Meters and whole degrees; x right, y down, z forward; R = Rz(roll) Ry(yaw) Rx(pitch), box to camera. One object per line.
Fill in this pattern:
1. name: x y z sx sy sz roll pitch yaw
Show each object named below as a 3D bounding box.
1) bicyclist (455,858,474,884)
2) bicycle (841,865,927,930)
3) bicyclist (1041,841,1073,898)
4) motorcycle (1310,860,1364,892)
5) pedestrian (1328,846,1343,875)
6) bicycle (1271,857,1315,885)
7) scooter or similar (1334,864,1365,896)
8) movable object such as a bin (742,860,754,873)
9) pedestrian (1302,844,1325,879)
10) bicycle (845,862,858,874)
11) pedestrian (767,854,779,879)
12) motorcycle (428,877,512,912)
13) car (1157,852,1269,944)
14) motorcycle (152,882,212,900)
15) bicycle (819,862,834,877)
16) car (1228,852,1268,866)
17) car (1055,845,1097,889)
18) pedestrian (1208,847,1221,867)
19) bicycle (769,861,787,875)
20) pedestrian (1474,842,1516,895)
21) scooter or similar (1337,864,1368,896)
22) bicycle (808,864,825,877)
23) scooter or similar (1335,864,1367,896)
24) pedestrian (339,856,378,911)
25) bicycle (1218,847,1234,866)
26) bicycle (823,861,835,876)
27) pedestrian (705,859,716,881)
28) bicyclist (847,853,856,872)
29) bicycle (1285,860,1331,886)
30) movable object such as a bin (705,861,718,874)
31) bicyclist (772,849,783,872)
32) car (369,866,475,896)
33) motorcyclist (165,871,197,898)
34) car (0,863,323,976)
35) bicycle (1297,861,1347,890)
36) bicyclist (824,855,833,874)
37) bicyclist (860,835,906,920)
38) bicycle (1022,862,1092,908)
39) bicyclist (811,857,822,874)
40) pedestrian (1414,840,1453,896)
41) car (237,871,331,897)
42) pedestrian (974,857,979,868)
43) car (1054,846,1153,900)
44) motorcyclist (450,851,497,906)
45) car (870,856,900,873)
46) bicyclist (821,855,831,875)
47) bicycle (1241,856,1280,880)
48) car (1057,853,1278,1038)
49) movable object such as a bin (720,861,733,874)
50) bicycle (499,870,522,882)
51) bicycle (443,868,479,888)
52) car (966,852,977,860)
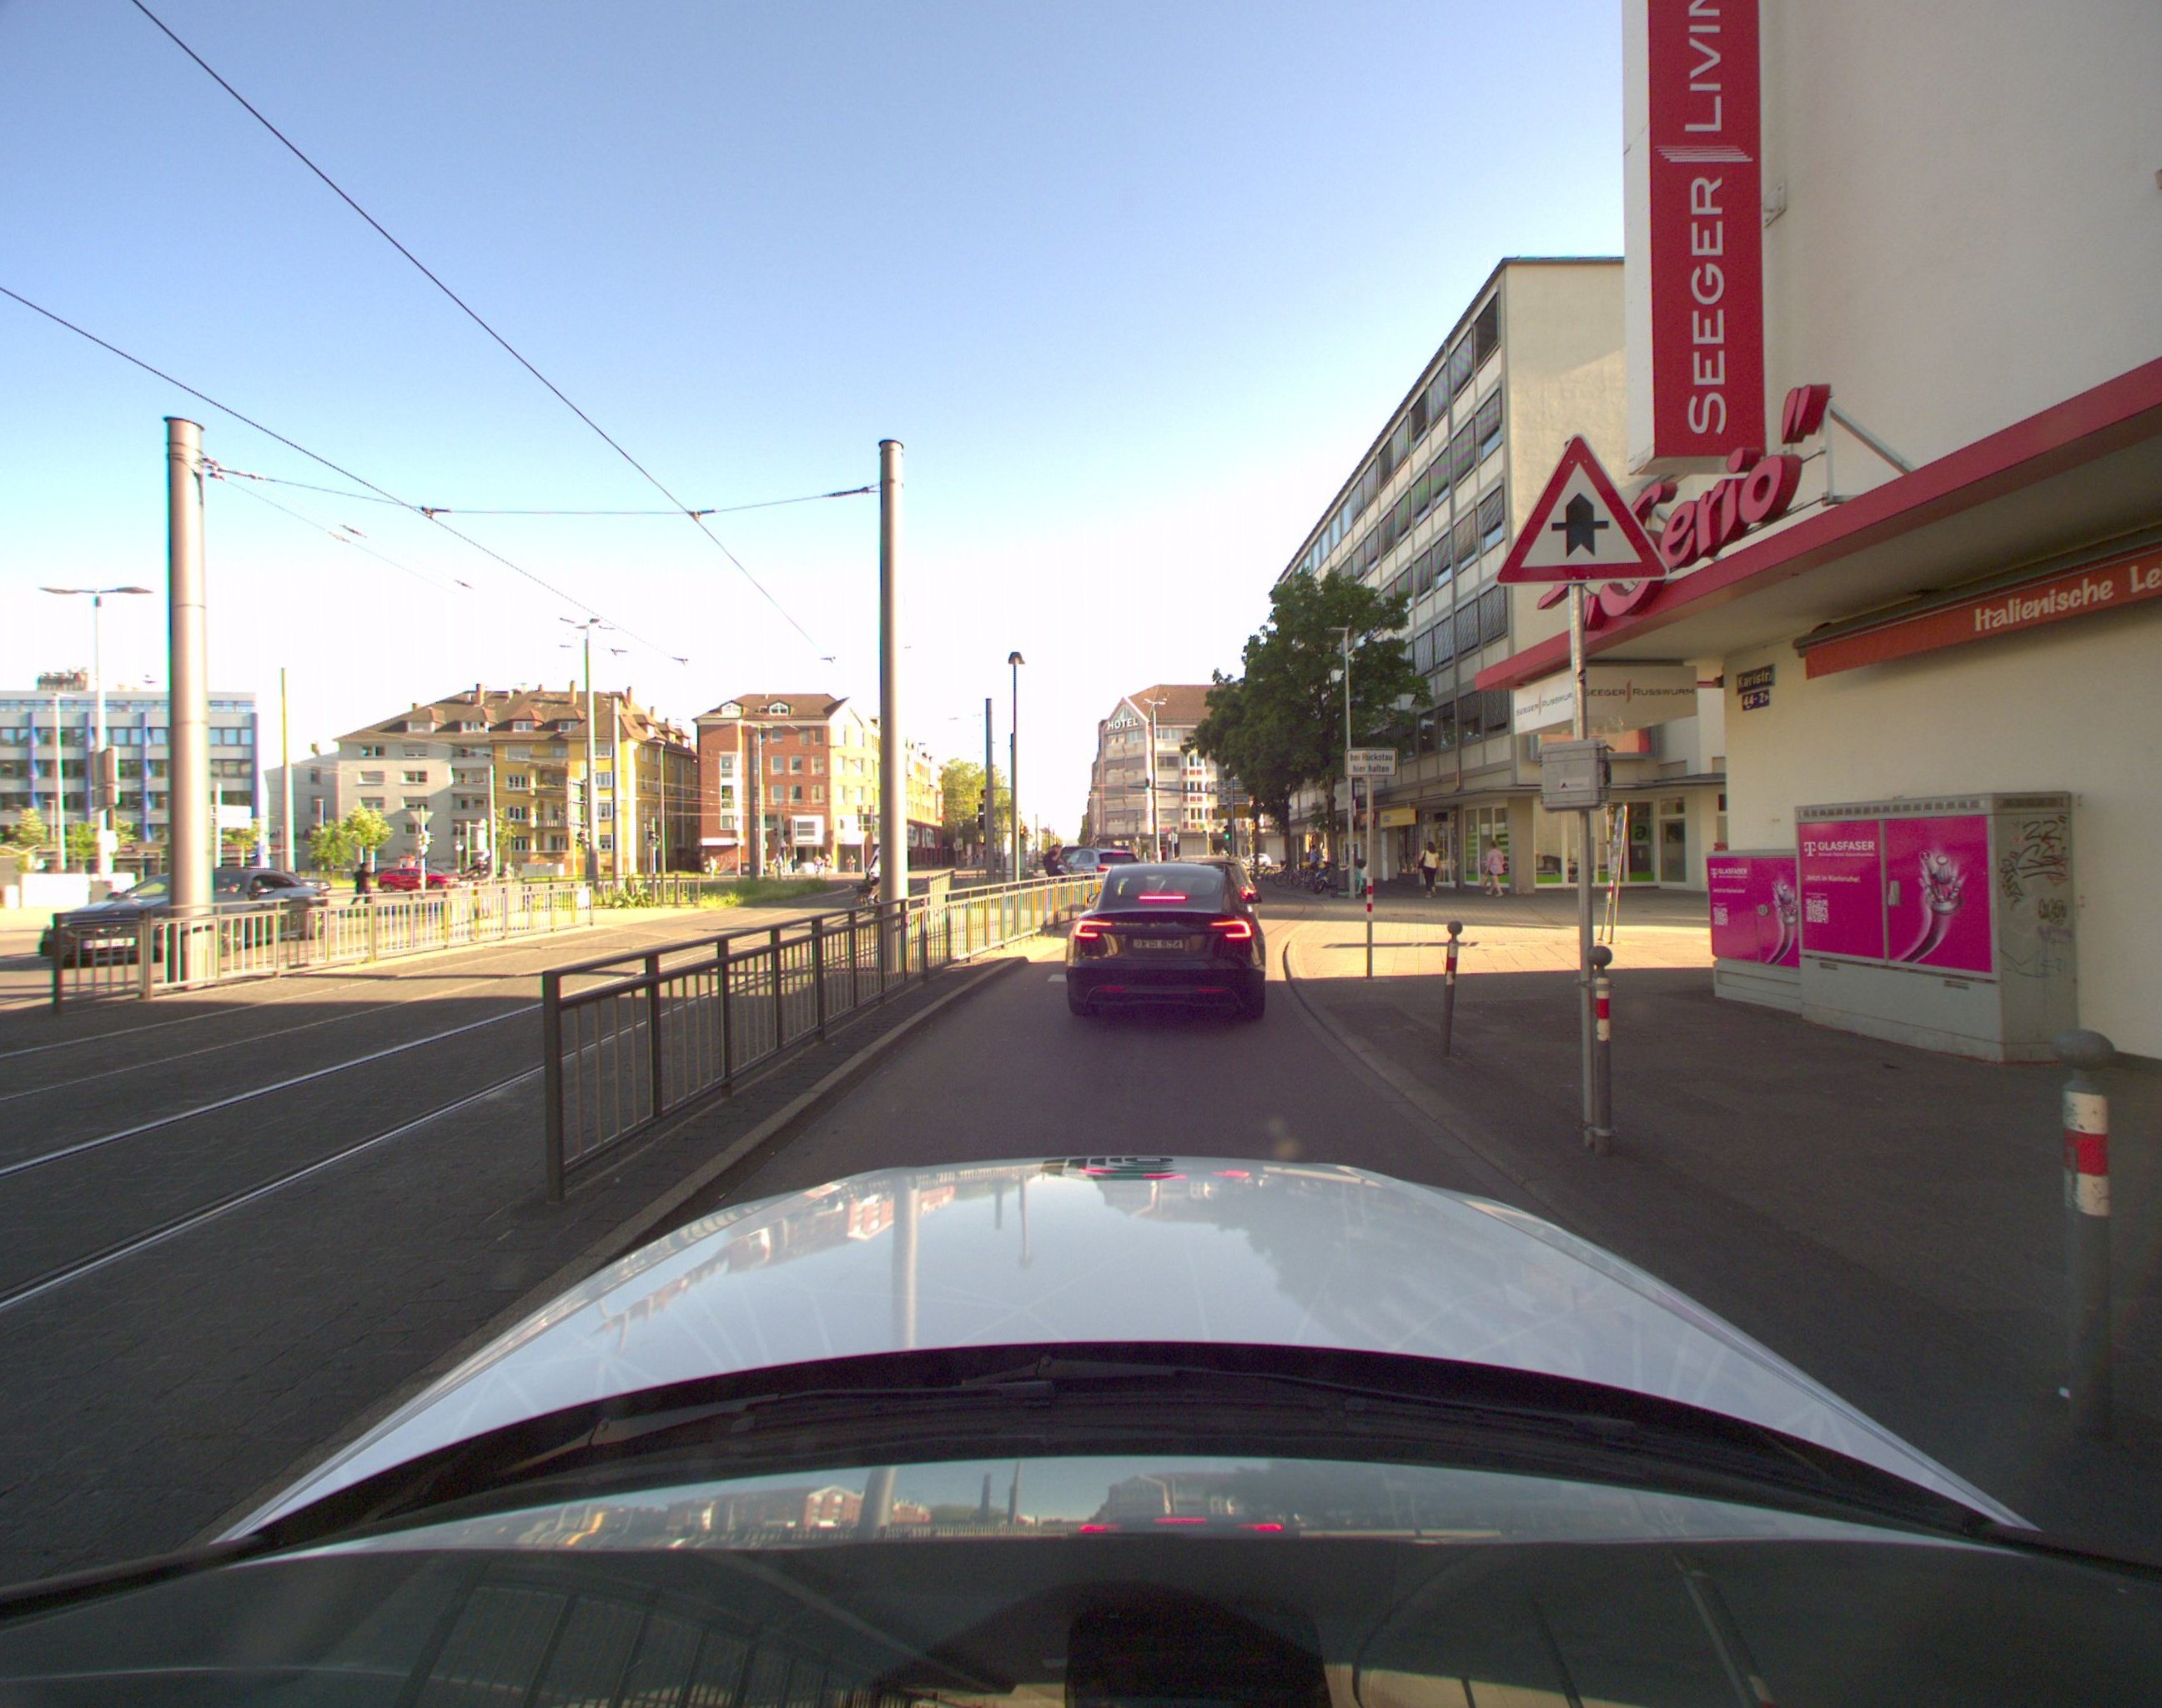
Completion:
1. bicyclist: -34.801 0.955 45.975 0.615 1.493 0.607 0 -1 -12
2. bicycle: -3.905 0.838 16.091 1.802 1.212 0.586 -1 -1 35
3. bicyclist: -0.664 0.423 22.397 0.685 1.523 0.629 0 -1 -29
4. motorcycle: 9.153 0.795 29.144 1.781 1.130 0.504 0 -1 -1
5. pedestrian: 12.787 0.312 40.867 0.640 1.422 0.623 -1 -1 11
6. bicycle: 9.180 0.748 35.289 1.805 1.151 0.435 -1 -1 -3
7. scooter or similar: 8.970 0.871 27.216 0.959 1.027 0.160 -1 0 4
8. movable object such as a bin: -35.994 1.373 88.037 0.995 1.437 1.093 0 -1 -8
9. pedestrian: 11.805 0.378 41.350 0.835 1.721 0.885 -1 -1 39
10. bicycle: -19.959 1.239 70.894 0.527 1.013 1.899 0 -1 4
11. pedestrian: -25.896 1.052 68.517 0.592 2.014 0.831 0 -1 4
12. motorcycle: -17.598 1.154 23.542 0.596 0.926 2.160 0 -1 7
13. car: 2.360 0.695 15.227 1.755 1.444 4.537 0 0 7
14. motorcycle: -51.745 2.098 46.890 2.355 0.984 0.790 0 -1 -6
15. bicycle: -20.724 1.238 66.299 0.527 1.214 1.887 0 -1 4
16. car: 17.614 0.537 86.170 3.832 1.432 1.801 -1 -2 -4
17. car: -0.176 0.508 32.467 1.568 1.618 3.782 0 -1 0
18. pedestrian: 10.675 0.202 65.219 0.780 1.576 0.864 0 1 -13
19. bicycle: -22.452 1.043 60.289 0.527 1.013 1.887 0 -1 4
20. pedestrian: 12.602 0.434 24.793 0.840 1.602 0.880 0 -1 1
21. scooter or similar: 8.941 0.846 26.818 0.959 1.043 0.160 -1 0 4
22. bicycle: -22.217 1.372 68.422 0.647 1.013 1.887 0 -1 4
23. scooter or similar: 8.956 0.859 27.016 0.952 1.039 0.160 -1 0 4
24. pedestrian: -25.904 1.049 29.211 0.716 1.934 0.802 -1 -1 22
25. bicycle: 11.591 0.197 65.170 0.583 1.463 1.678 -1 0 -13
26. bicycle: -21.947 1.290 70.992 0.572 1.291 2.023 0 -1 -5
27. pedestrian: -28.599 1.209 62.867 0.624 1.688 0.703 0 1 -11
28. bicyclist: -19.970 0.731 70.780 0.522 1.673 0.771 0 -1 4
29. bicycle: 9.262 0.775 33.250 1.758 1.057 0.459 0 -1 6
30. movable object such as a bin: -39.832 1.445 87.708 0.995 1.437 1.093 0 -1 -8
31. bicyclist: -22.461 0.466 60.268 0.518 1.673 0.771 0 -1 3
32. car: -39.097 1.576 48.381 4.548 1.509 1.777 -2 0 -9
33. motorcyclist: -51.796 1.747 46.884 0.919 1.524 0.781 0 -1 -5
34. car: -15.181 0.935 13.657 1.782 1.509 4.640 -2 0 -18
35. bicycle: 9.230 0.817 31.198 1.850 1.056 0.398 -2 0 -10
36. bicyclist: -21.940 0.939 70.735 0.587 1.649 0.805 0 -1 -5
37. bicyclist: -3.908 0.453 16.102 0.674 1.631 0.582 -1 -1 35
38. bicycle: -0.662 0.836 22.391 1.831 1.212 0.635 0 -1 -29
39. bicyclist: -22.218 0.971 68.359 0.661 1.454 0.731 0 -1 3
40. pedestrian: 11.021 0.438 25.453 0.840 1.707 0.880 0 -1 1
41. car: -46.364 1.731 47.427 3.695 1.472 1.572 0 -1 -6
42. pedestrian: -14.058 1.171 109.797 0.584 1.531 0.634 0 -1 -16
43. car: 0.655 0.587 26.335 1.848 1.635 3.457 0 -1 -25
44. motorcyclist: -17.589 0.696 23.579 0.649 1.558 0.886 0 -1 7
45. car: -18.272 0.998 76.199 1.678 1.560 4.124 0 -1 2
46. bicyclist: -20.727 0.900 66.237 0.518 1.673 0.771 0 -1 3
47. bicycle: 9.310 0.746 42.339 1.882 1.156 0.480 -2 -1 2
48. car: 0.923 0.737 8.598 1.781 1.450 3.947 0 1 7
49. movable object such as a bin: -38.279 1.455 87.923 0.995 1.437 1.093 0 -1 -8
50. bicycle: -36.332 1.388 51.882 1.174 0.764 0.318 0 -1 -15
51. bicycle: -34.951 1.348 45.941 1.497 1.133 0.609 0 -1 -13
52. car: -20.956 0.456 155.683 1.814 1.454 3.970 -2 0 -5
